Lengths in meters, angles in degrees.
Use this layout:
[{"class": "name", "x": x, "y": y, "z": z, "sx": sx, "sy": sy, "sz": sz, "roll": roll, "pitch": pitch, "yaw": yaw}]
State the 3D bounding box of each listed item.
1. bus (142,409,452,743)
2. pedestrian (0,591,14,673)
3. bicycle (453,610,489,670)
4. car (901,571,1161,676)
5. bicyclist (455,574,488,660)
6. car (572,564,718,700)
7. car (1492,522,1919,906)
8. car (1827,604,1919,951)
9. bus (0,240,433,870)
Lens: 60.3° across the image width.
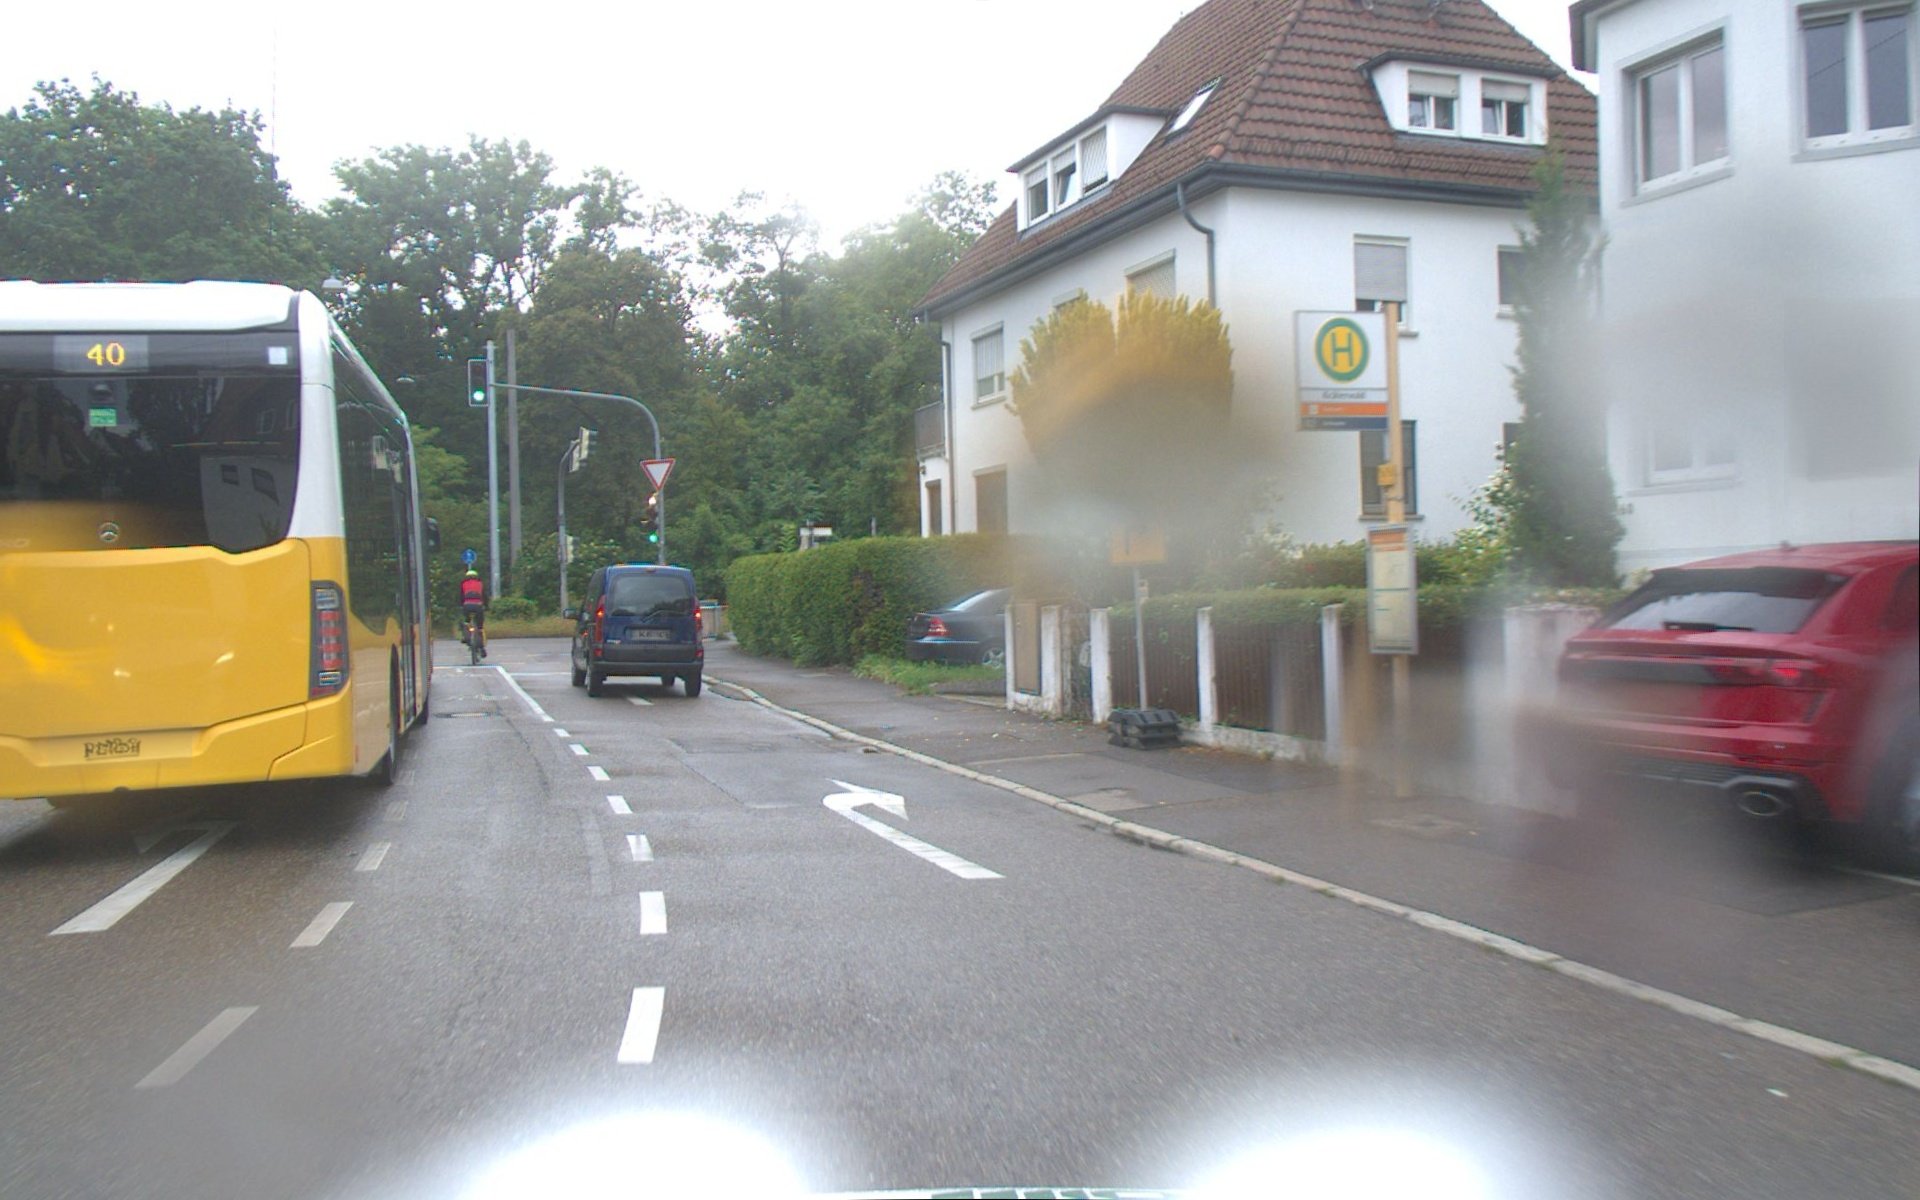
[{"class": "bus", "x": -8.316, "y": -0.321, "z": 21.869, "sx": 2.853, "sy": 3.457, "sz": 9.000, "roll": -2, "pitch": 1, "yaw": -16}, {"class": "pedestrian", "x": -19.339, "y": 0.636, "z": 33.145, "sx": 0.593, "sy": 1.646, "sz": 0.428, "roll": 0, "pitch": 0, "yaw": -38}, {"class": "bicycle", "x": -9.671, "y": 0.776, "z": 32.768, "sx": 0.568, "sy": 1.115, "sz": 2.147, "roll": 0, "pitch": 0, "yaw": -14}, {"class": "car", "x": 1.085, "y": 0.322, "z": 25.461, "sx": 3.688, "sy": 1.412, "sz": 1.607, "roll": -2, "pitch": 3, "yaw": -20}, {"class": "bicyclist", "x": -9.690, "y": 0.333, "z": 32.848, "sx": 0.568, "sy": 1.681, "sz": 1.045, "roll": 0, "pitch": 0, "yaw": -14}, {"class": "car", "x": -4.797, "y": 0.450, "z": 24.776, "sx": 1.779, "sy": 1.829, "sz": 3.982, "roll": -1, "pitch": 0, "yaw": -16}, {"class": "car", "x": 5.307, "y": 0.448, "z": 9.560, "sx": 4.025, "sy": 1.780, "sz": 1.983, "roll": -3, "pitch": 2, "yaw": -27}, {"class": "car", "x": 6.323, "y": 0.675, "z": 7.438, "sx": 4.489, "sy": 1.441, "sz": 1.985, "roll": -3, "pitch": 2, "yaw": -25}, {"class": "bus", "x": -5.892, "y": -0.298, "z": 13.408, "sx": 2.633, "sy": 3.457, "sz": 8.644, "roll": -2, "pitch": 1, "yaw": -15}]
